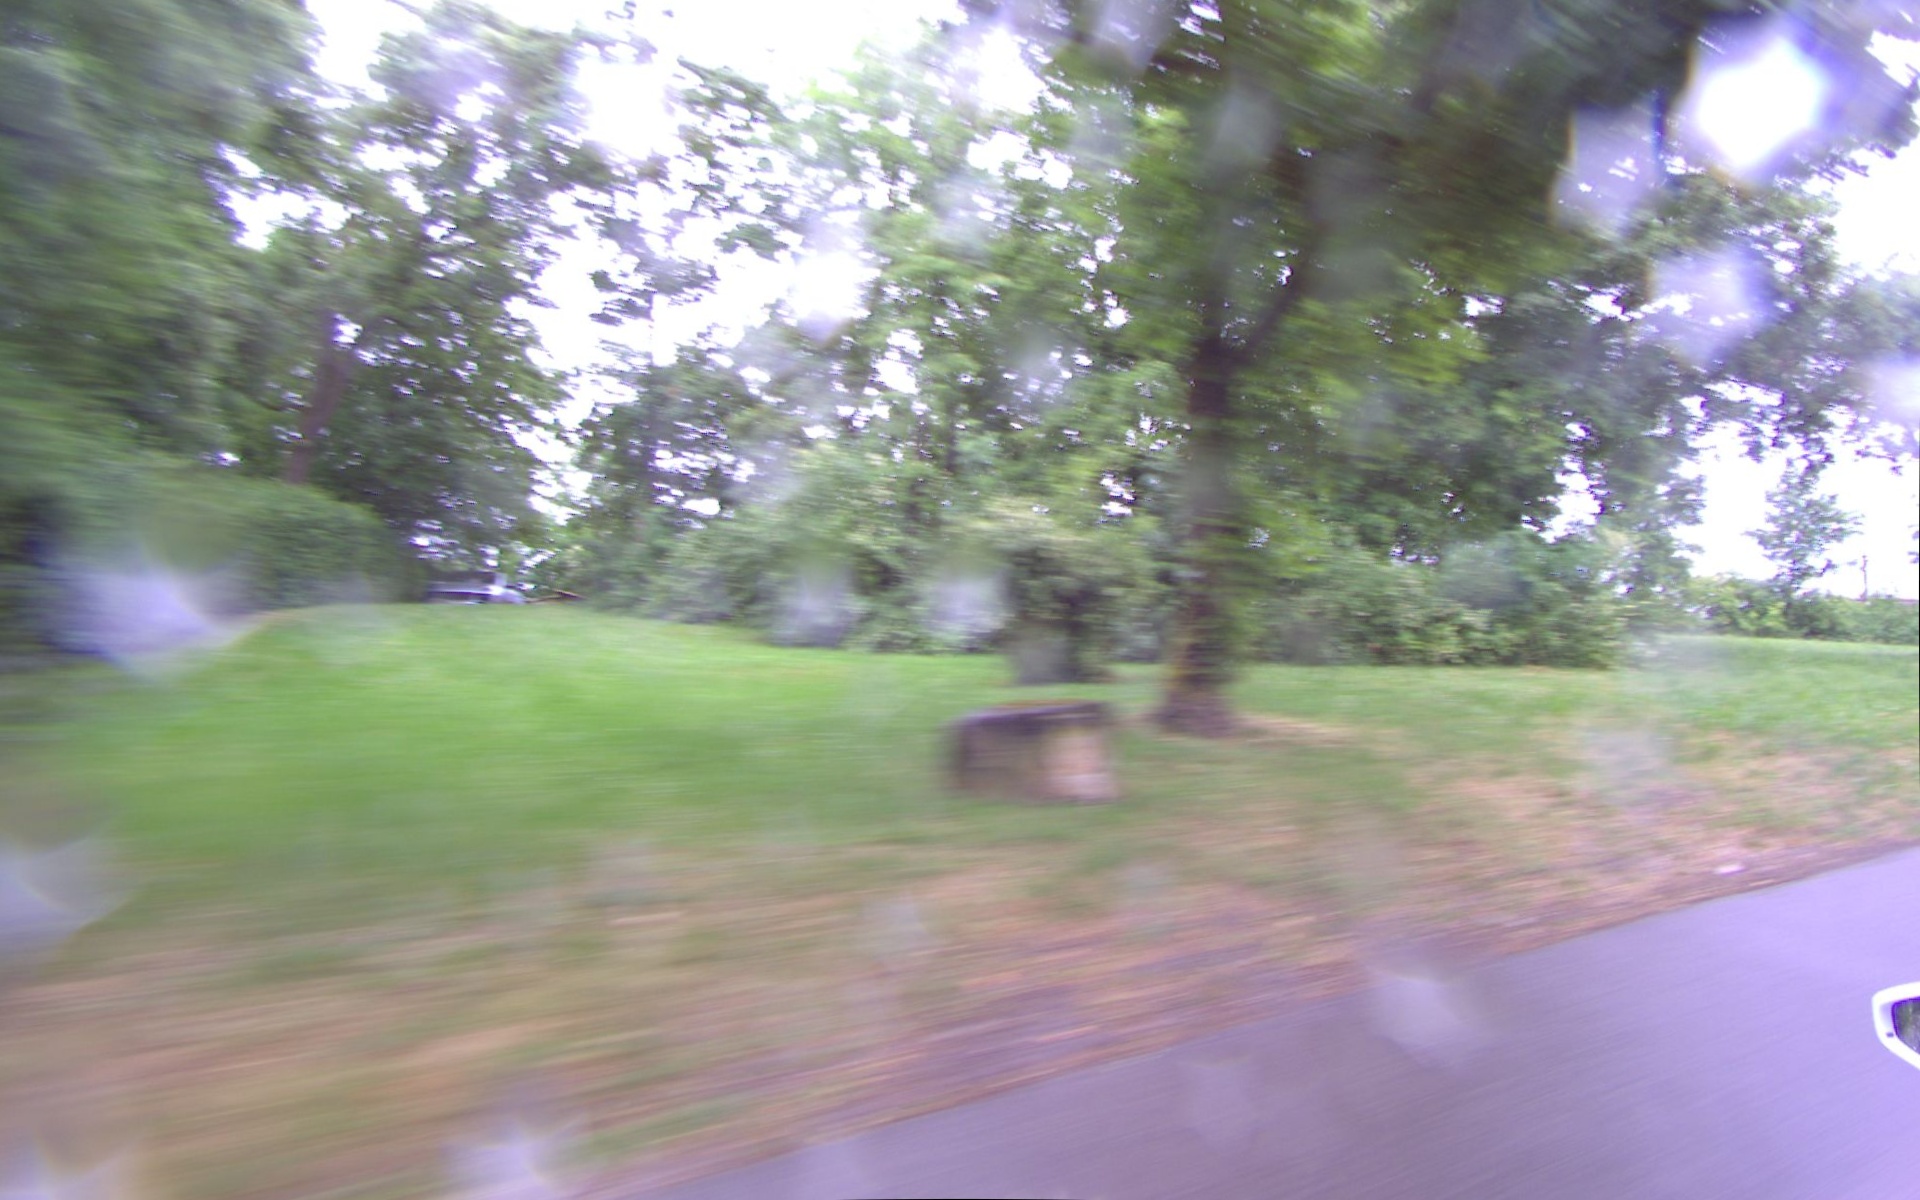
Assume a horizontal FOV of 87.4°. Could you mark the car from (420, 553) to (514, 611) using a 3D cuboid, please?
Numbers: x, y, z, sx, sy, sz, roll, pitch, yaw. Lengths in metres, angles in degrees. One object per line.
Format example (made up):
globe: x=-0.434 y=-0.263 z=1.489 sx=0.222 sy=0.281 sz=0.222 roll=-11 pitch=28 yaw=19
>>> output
car: x=-14.335 y=-0.495 z=29.399 sx=1.851 sy=1.503 sz=3.983 roll=3 pitch=-1 yaw=-18
